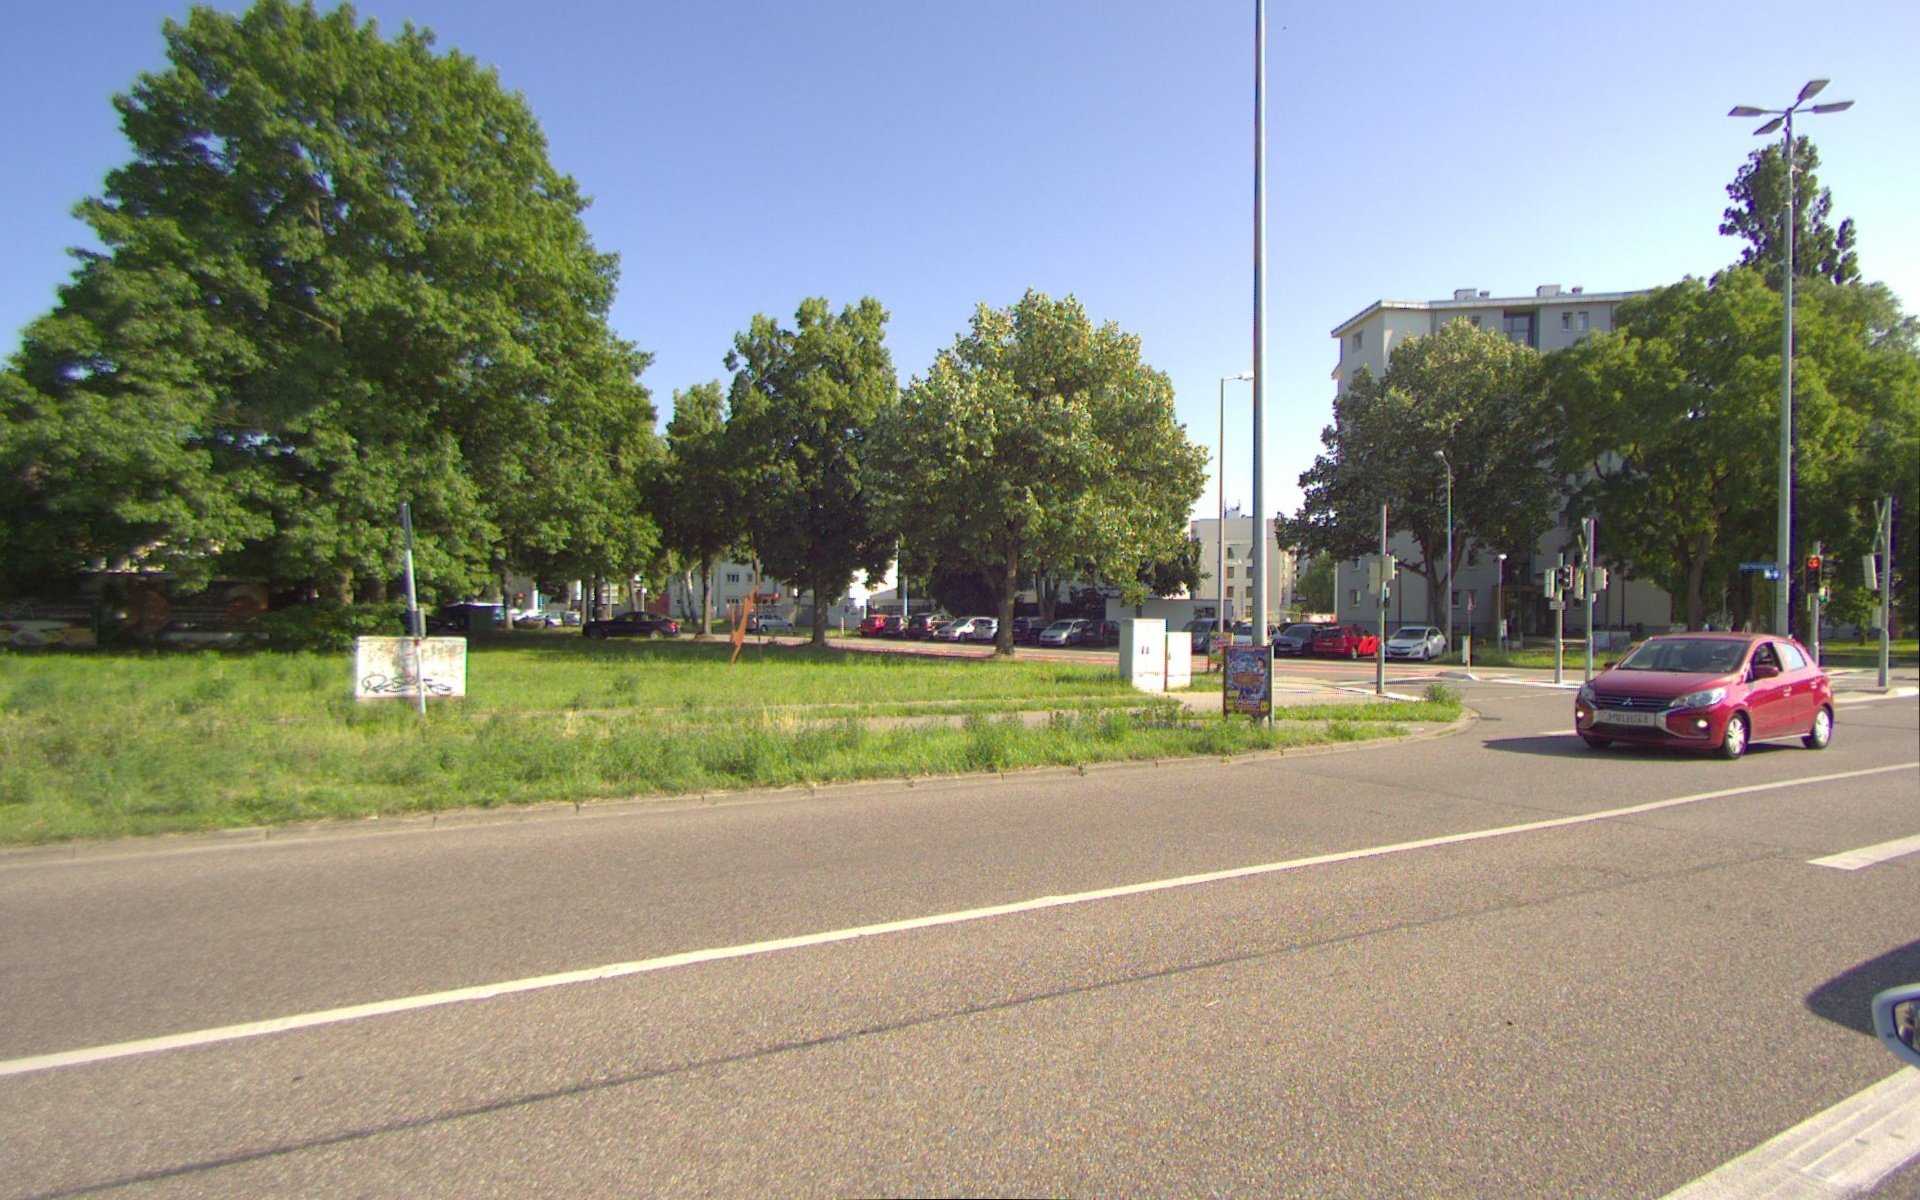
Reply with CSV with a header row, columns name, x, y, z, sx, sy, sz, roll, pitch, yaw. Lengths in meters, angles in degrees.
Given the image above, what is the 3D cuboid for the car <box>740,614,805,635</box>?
name,x,y,z,sx,sy,sz,roll,pitch,yaw
car,-14.205,1.860,76.315,1.760,1.497,4.786,0,-1,43

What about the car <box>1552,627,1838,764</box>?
name,x,y,z,sx,sy,sz,roll,pitch,yaw
car,9.415,1.118,12.831,3.634,1.518,1.686,1,-2,-31

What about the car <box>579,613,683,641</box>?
name,x,y,z,sx,sy,sz,roll,pitch,yaw
car,-16.246,1.328,49.834,4.682,1.338,1.524,1,-1,-8

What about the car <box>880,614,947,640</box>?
name,x,y,z,sx,sy,sz,roll,pitch,yaw
car,-3.049,1.756,66.877,1.758,1.497,4.791,0,2,39

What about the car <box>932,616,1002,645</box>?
name,x,y,z,sx,sy,sz,roll,pitch,yaw
car,0.504,1.863,62.700,1.758,1.497,4.791,0,2,39

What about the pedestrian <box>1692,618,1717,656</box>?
name,x,y,z,sx,sy,sz,roll,pitch,yaw
pedestrian,33.729,1.671,45.530,0.693,1.736,0.623,0,0,-18

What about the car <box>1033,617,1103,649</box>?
name,x,y,z,sx,sy,sz,roll,pitch,yaw
car,6.262,1.837,57.806,1.758,1.497,4.692,0,3,39

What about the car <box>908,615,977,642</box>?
name,x,y,z,sx,sy,sz,roll,pitch,yaw
car,-1.068,1.814,64.624,1.758,1.497,4.791,0,2,39

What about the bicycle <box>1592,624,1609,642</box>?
name,x,y,z,sx,sy,sz,roll,pitch,yaw
bicycle,40.810,2.092,64.032,0.601,1.080,1.916,1,-2,24

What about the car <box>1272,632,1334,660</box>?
name,x,y,z,sx,sy,sz,roll,pitch,yaw
car,16.631,2.204,48.676,1.445,1.209,3.765,0,-1,43

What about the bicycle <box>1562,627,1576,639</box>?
name,x,y,z,sx,sy,sz,roll,pitch,yaw
bicycle,39.358,2.102,64.938,0.574,0.718,2.236,1,0,26

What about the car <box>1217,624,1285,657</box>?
name,x,y,z,sx,sy,sz,roll,pitch,yaw
car,14.696,2.020,50.563,1.759,1.541,3.979,0,-1,41

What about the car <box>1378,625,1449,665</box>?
name,x,y,z,sx,sy,sz,roll,pitch,yaw
car,20.520,1.991,45.378,1.760,1.459,3.977,0,2,43

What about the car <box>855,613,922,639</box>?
name,x,y,z,sx,sy,sz,roll,pitch,yaw
car,-4.812,1.749,68.344,1.758,1.497,4.791,0,2,39

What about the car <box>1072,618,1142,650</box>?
name,x,y,z,sx,sy,sz,roll,pitch,yaw
car,8.419,1.893,57.153,1.758,1.497,4.791,0,2,39

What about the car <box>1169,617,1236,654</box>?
name,x,y,z,sx,sy,sz,roll,pitch,yaw
car,12.674,1.848,52.400,1.759,1.835,3.979,0,-1,41

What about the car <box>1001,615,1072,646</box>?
name,x,y,z,sx,sy,sz,roll,pitch,yaw
car,4.603,1.797,59.882,1.758,1.497,4.791,0,3,39

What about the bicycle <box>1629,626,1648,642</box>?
name,x,y,z,sx,sy,sz,roll,pitch,yaw
bicycle,42.671,2.133,63.166,0.658,0.932,2.404,1,-1,26

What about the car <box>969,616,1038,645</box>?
name,x,y,z,sx,sy,sz,roll,pitch,yaw
car,2.702,1.819,61.458,1.758,1.497,4.755,0,2,39

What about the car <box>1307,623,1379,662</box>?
name,x,y,z,sx,sy,sz,roll,pitch,yaw
car,18.084,1.966,47.363,1.761,1.435,3.975,0,3,44
